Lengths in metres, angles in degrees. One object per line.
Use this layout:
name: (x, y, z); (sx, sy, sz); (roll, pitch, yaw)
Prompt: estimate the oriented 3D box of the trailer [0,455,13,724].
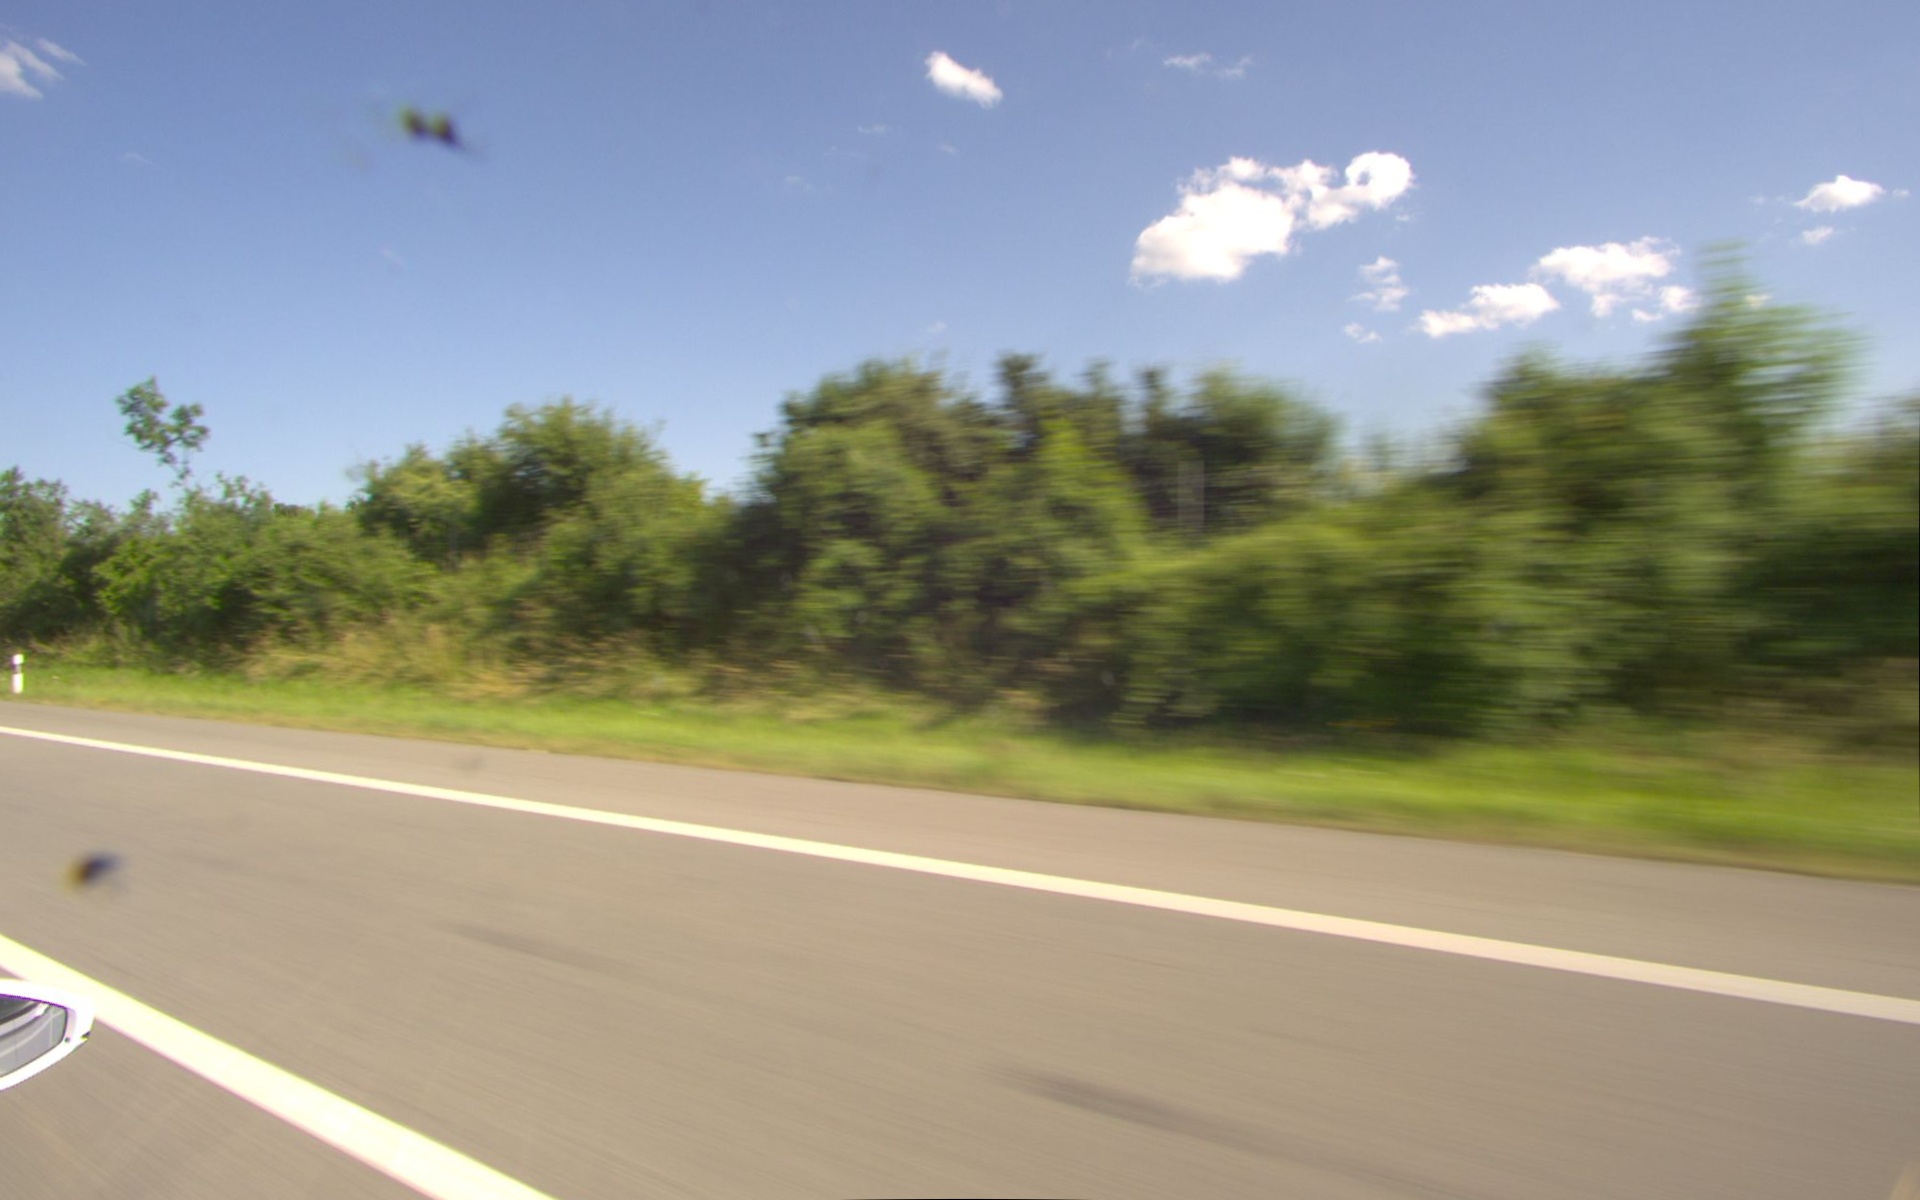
trailer: (-20.891, -0.069, 17.547); (13.000, 4.111, 3.179); (-1, -2, 33)
